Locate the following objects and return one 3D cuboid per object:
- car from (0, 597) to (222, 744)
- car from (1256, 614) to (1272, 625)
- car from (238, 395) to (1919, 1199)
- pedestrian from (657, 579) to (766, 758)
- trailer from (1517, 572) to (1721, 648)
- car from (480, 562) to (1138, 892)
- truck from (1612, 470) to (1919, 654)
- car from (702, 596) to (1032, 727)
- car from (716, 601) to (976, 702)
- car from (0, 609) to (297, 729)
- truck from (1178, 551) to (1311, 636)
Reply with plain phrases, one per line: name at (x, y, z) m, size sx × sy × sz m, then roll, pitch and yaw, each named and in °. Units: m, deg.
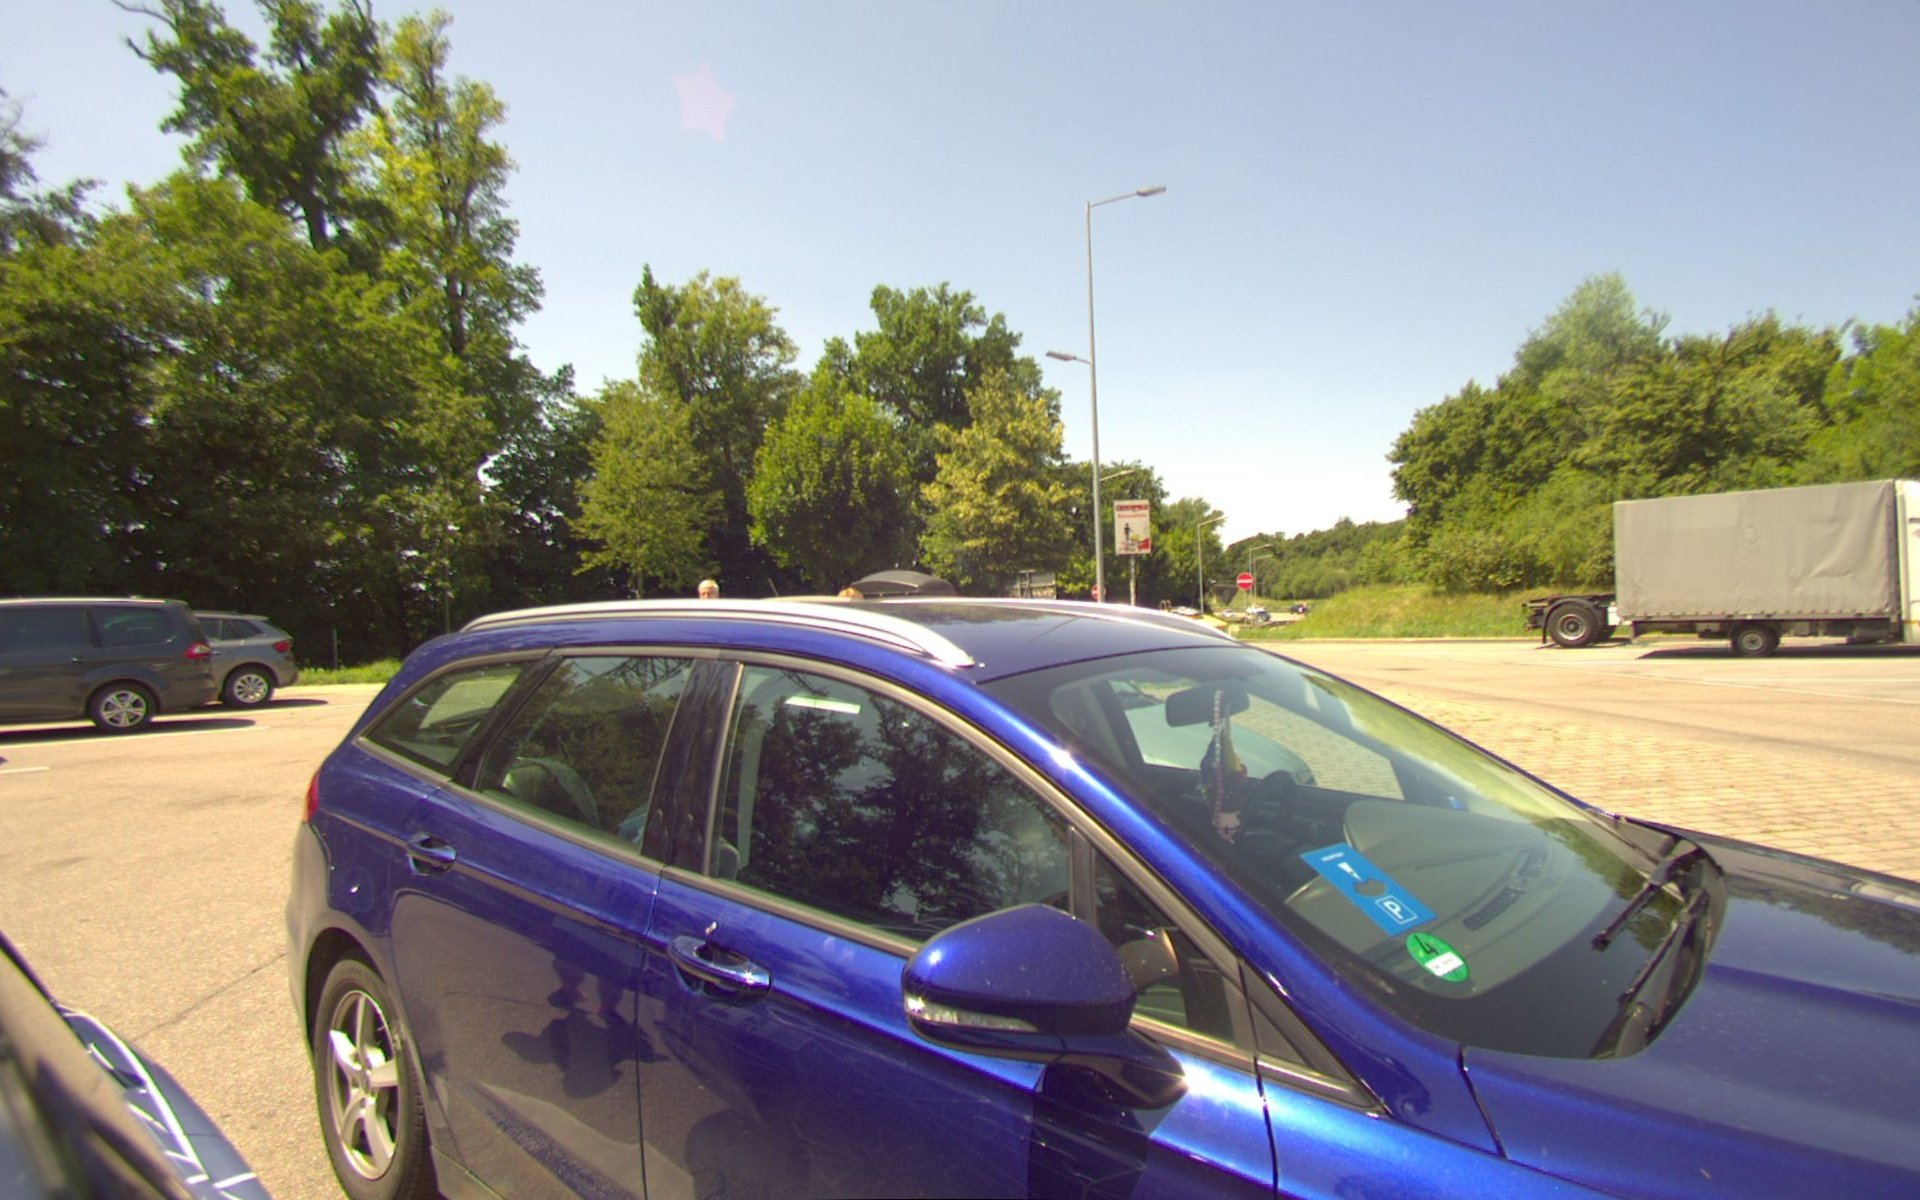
car at (-11.696, 0.855, 12.572) m, size 3.910 × 1.701 × 1.782 m, roll -1°, pitch -1°, yaw -43°
car at (42.233, 2.698, 140.737) m, size 1.696 × 1.547 × 3.839 m, roll -2°, pitch -1°, yaw 11°
car at (0.226, 0.637, 2.116) m, size 4.466 × 1.476 × 1.756 m, roll -3°, pitch -1°, yaw 40°
pedestrian at (-2.363, 0.624, 9.621) m, size 0.759 × 1.614 × 0.663 m, roll -3°, pitch -1°, yaw 41°
trailer at (15.766, 0.277, 24.335) m, size 3.900 × 1.674 × 1.456 m, roll -2°, pitch -1°, yaw 41°
car at (-1.246, 0.637, 6.662) m, size 4.466 × 1.476 × 1.756 m, roll -3°, pitch -1°, yaw 40°
truck at (16.756, -0.639, 18.886) m, size 7.348 × 3.152 × 2.339 m, roll -3°, pitch -2°, yaw 41°
car at (-1.373, 0.763, 13.548) m, size 4.466 × 1.476 × 1.756 m, roll -3°, pitch -1°, yaw 40°
car at (-2.026, 0.834, 17.101) m, size 4.466 × 1.476 × 1.756 m, roll -3°, pitch -1°, yaw 40°
car at (-12.725, 0.980, 15.623) m, size 3.910 × 1.598 × 1.782 m, roll -1°, pitch -1°, yaw -43°
truck at (13.321, -0.245, 47.434) m, size 5.782 × 3.720 × 1.987 m, roll -2°, pitch -1°, yaw 20°
